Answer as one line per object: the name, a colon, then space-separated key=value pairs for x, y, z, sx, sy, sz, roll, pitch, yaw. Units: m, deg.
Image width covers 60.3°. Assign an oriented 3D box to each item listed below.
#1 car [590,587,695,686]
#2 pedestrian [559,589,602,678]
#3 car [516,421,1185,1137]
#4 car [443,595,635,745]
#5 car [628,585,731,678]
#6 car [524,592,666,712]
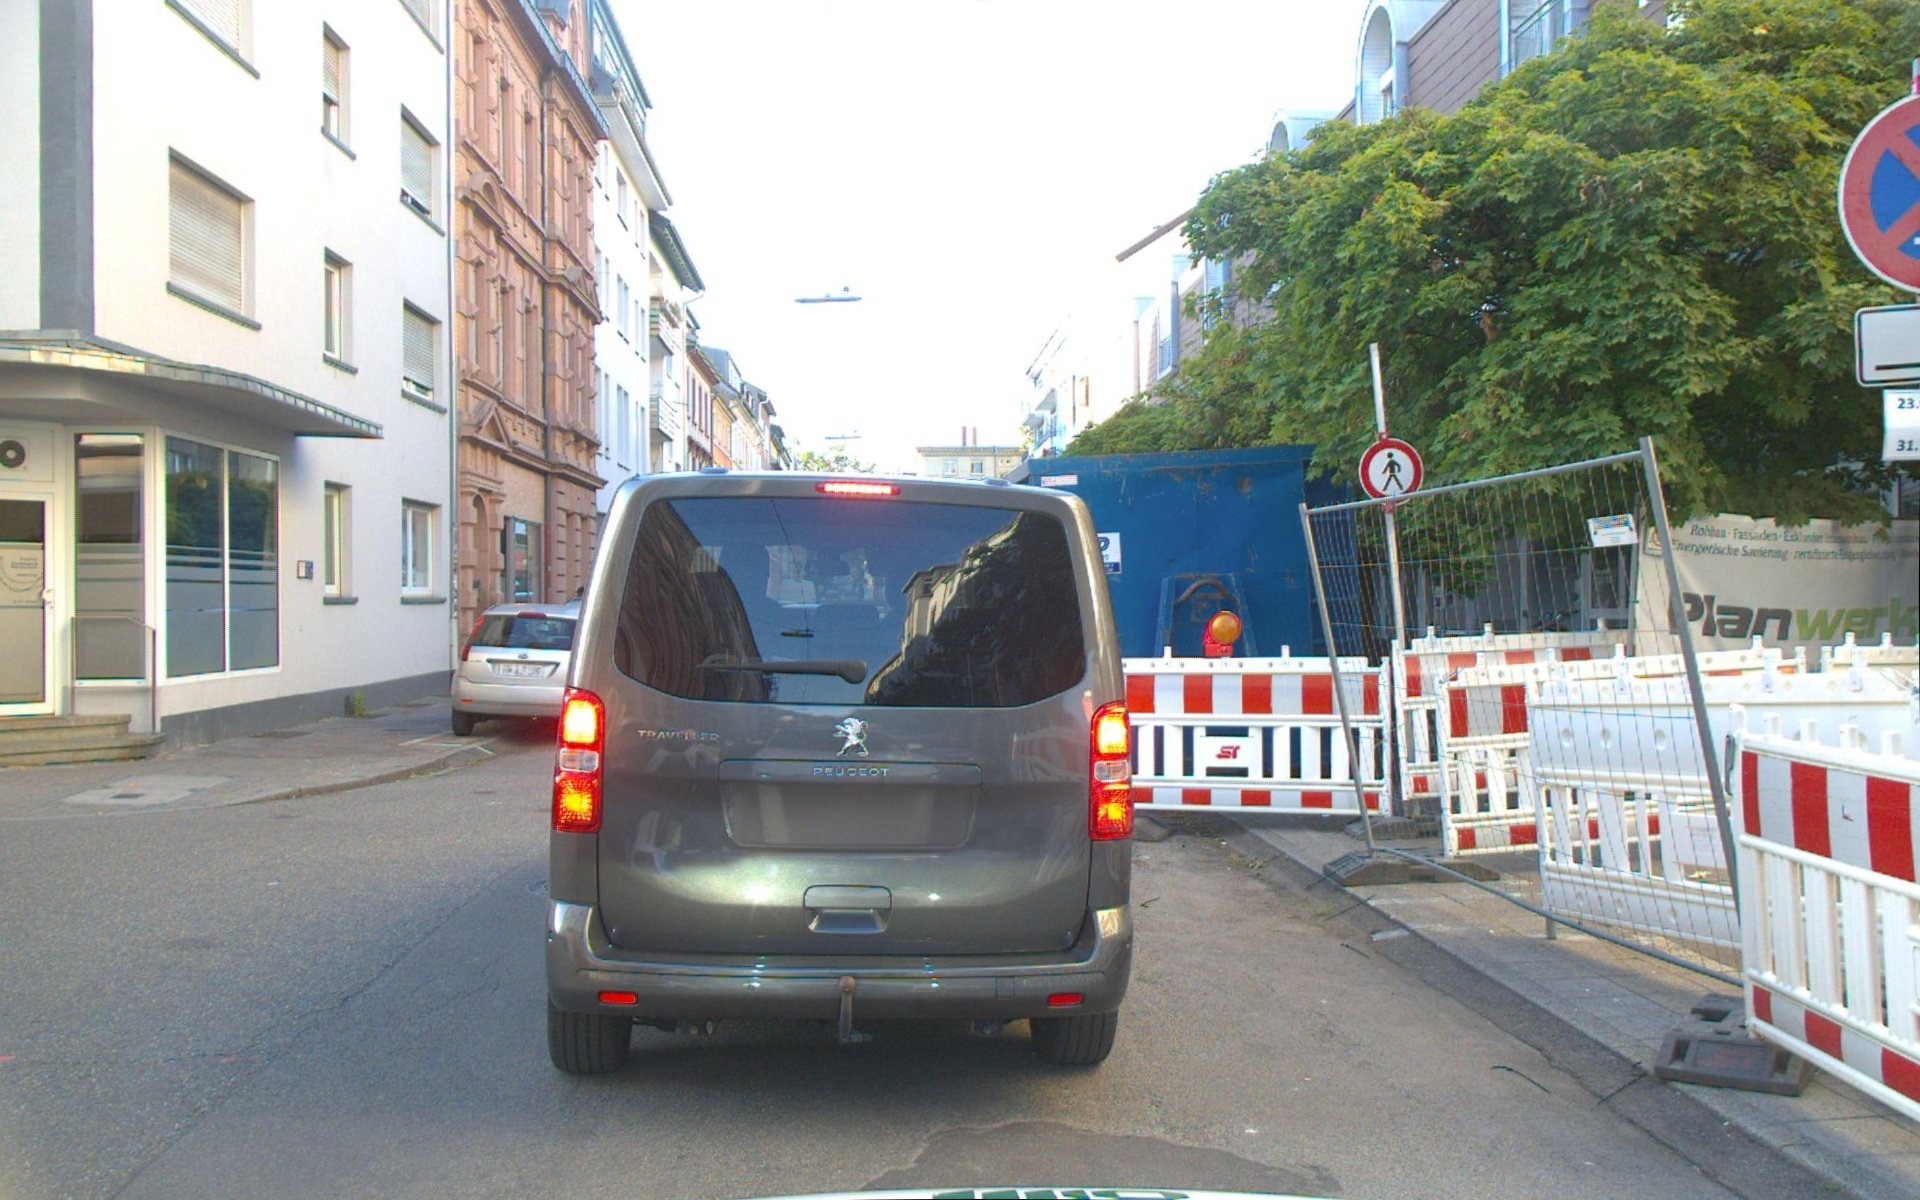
car: x=-6.025 y=0.684 z=31.699 sx=1.635 sy=1.695 sz=3.087 roll=4 pitch=-1 yaw=-7
pedestrian: x=-7.331 y=0.640 z=31.947 sx=0.726 sy=1.693 sz=0.702 roll=-1 pitch=0 yaw=-8
car: x=-0.517 y=0.503 z=6.655 sx=1.829 sy=1.919 sz=4.229 roll=0 pitch=-1 yaw=-7
car: x=-4.813 y=0.766 z=19.326 sx=1.625 sy=1.485 sz=3.413 roll=4 pitch=-1 yaw=-7
car: x=-5.935 y=0.665 z=35.346 sx=1.856 sy=1.749 sz=3.748 roll=4 pitch=-1 yaw=-7
car: x=-5.353 y=0.737 z=24.627 sx=1.625 sy=1.552 sz=3.413 roll=4 pitch=-1 yaw=-7
